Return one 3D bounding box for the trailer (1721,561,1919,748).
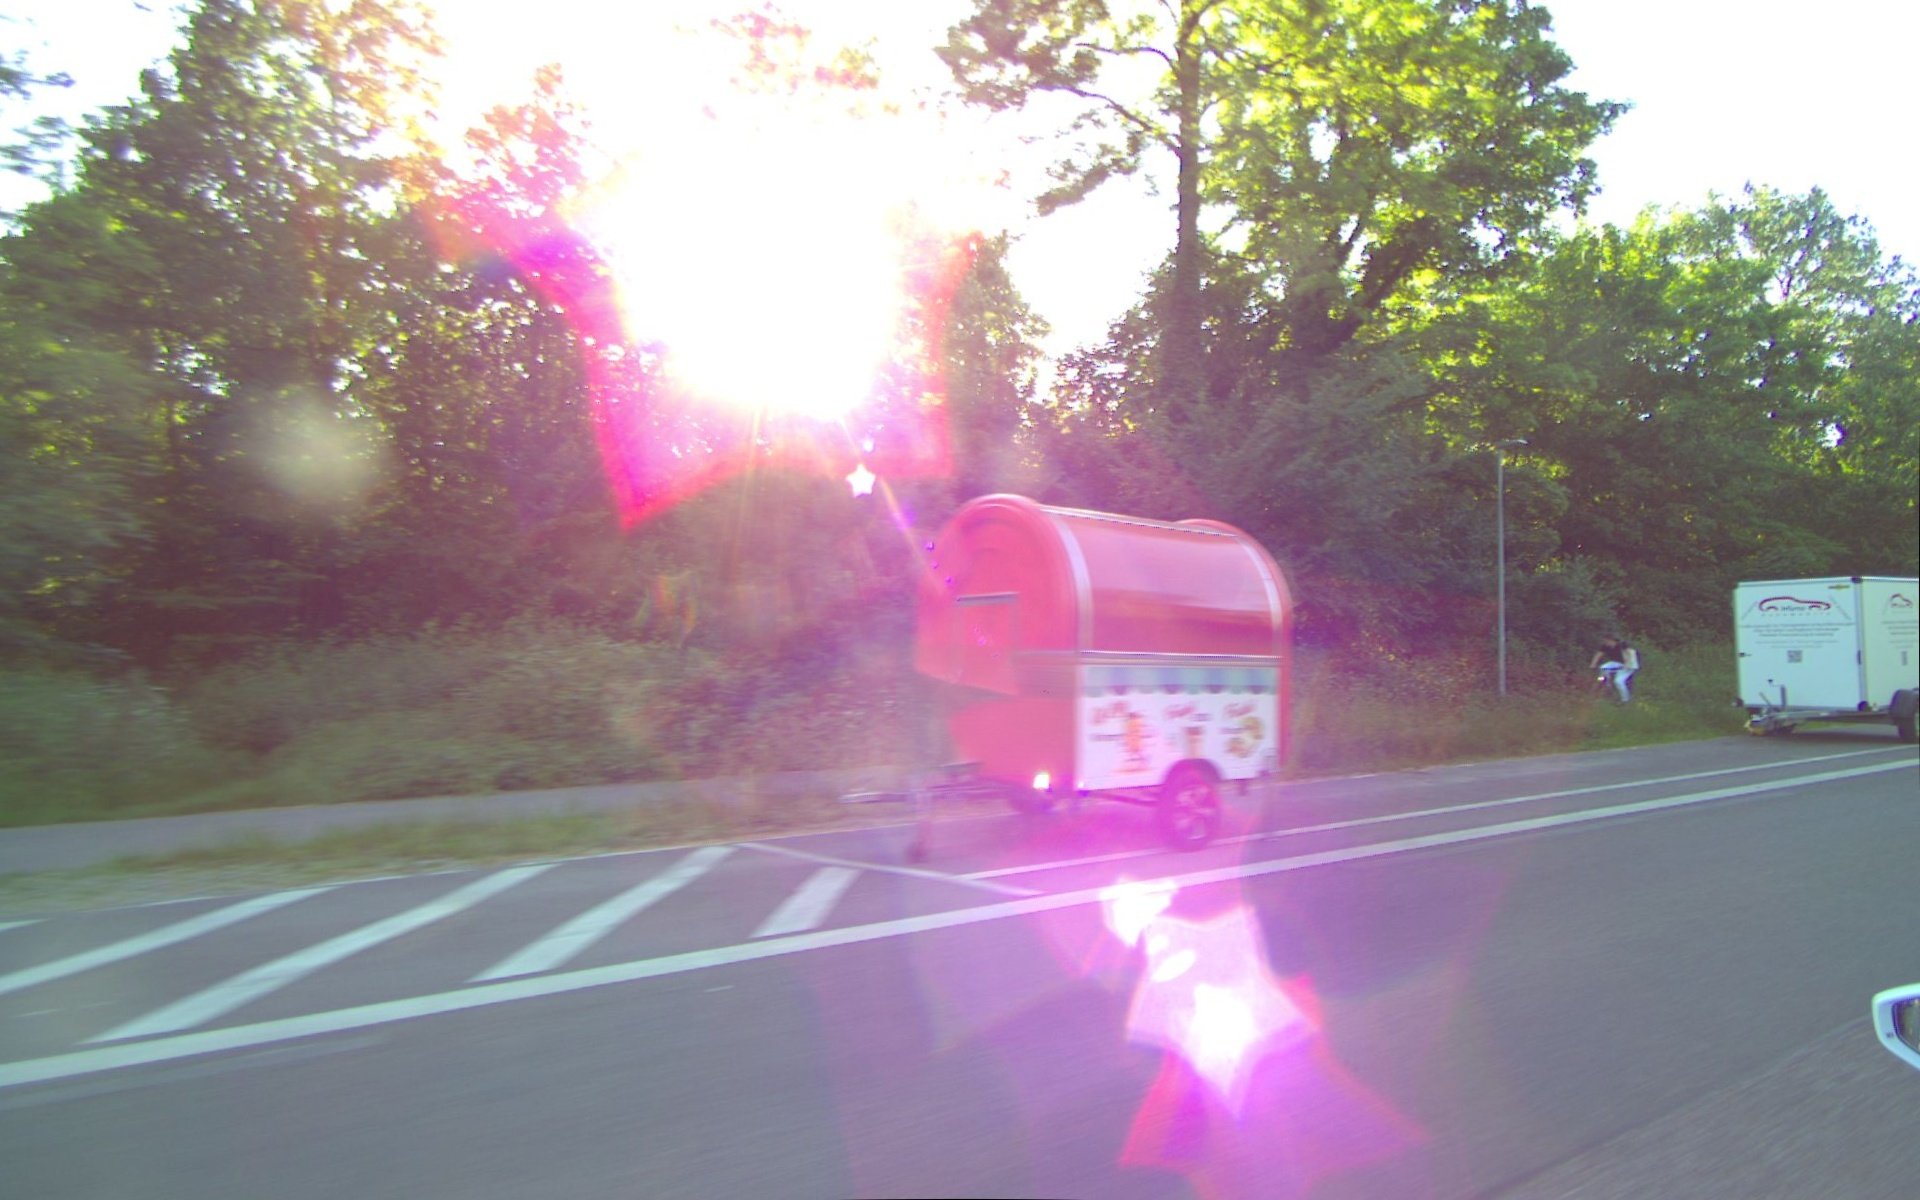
[{"bbox_3d":[13.592,0.790,15.390,3.524,2.513,2.054,1,-2,-34],"label":"trailer"}]

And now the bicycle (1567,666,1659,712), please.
[{"bbox_3d":[12.953,1.750,19.910,2.074,0.812,0.668,2,0,-30],"label":"bicycle"}]

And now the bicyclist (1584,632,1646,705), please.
[{"bbox_3d":[12.985,1.344,19.917,0.894,1.382,0.668,2,0,-30],"label":"bicyclist"}]

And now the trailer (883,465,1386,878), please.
[{"bbox_3d":[1.423,0.491,7.976,3.524,2.513,2.054,1,-2,-34],"label":"trailer"}]
